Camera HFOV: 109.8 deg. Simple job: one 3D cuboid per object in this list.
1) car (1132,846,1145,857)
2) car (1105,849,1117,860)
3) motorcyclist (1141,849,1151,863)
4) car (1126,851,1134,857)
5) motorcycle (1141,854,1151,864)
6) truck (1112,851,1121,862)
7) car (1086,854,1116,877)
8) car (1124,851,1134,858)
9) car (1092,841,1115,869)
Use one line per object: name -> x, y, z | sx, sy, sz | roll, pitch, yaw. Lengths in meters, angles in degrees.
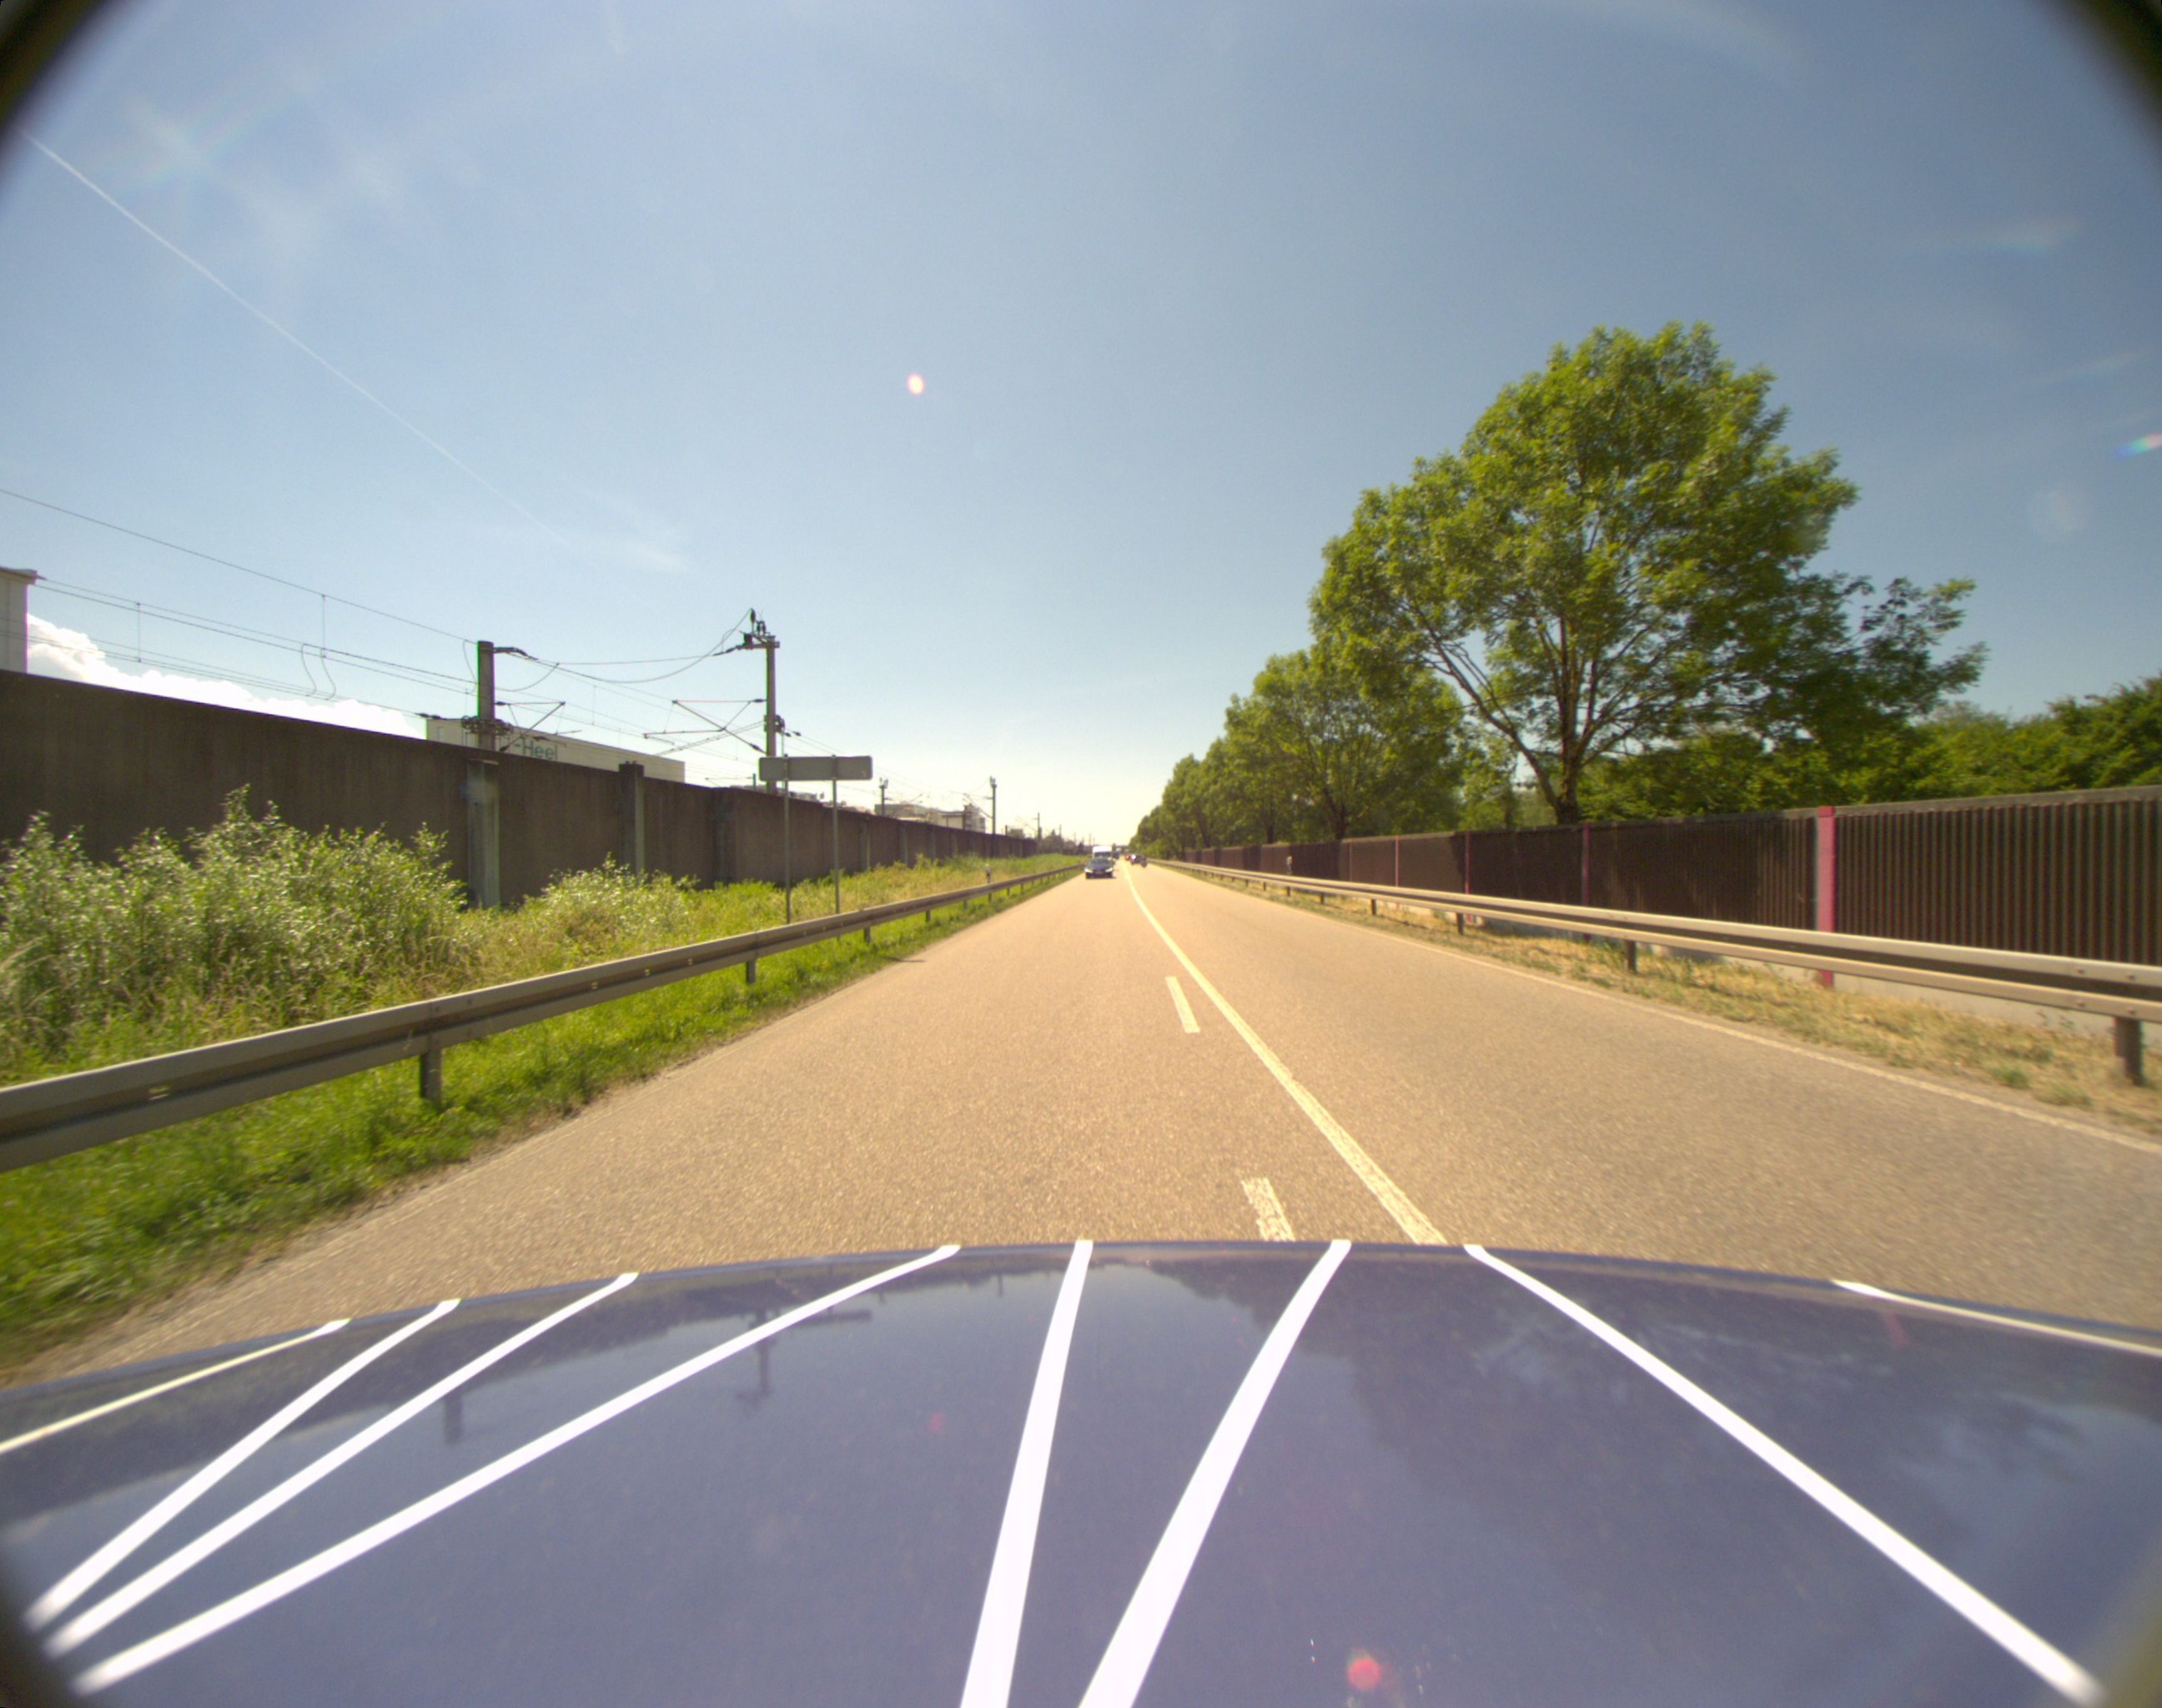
car -> 8.247, -0.333, 109.323 | 1.757, 1.499, 4.529 | -2, 0, 2
car -> 4.687, 0.062, 118.661 | 1.822, 1.555, 4.279 | -2, 0, 4
motorcyclist -> 7.381, 0.236, 86.272 | 0.951, 1.536, 1.214 | -2, 1, 2
car -> 11.297, 0.053, 176.749 | 1.757, 1.308, 4.529 | -2, 0, 2
motorcycle -> 7.407, 0.577, 86.359 | 0.951, 1.023, 2.385 | -2, 0, 2
truck -> 11.274, 0.775, 240.812 | 2.616, 3.024, 10.656 | -1, 1, 2
car -> 1.384, 0.757, 51.913 | 1.861, 1.371, 4.504 | -2, 0, 3
car -> 8.973, 0.146, 143.169 | 1.757, 1.225, 4.529 | -2, 0, 2
car -> 2.345, 0.078, 77.177 | 2.193, 2.589, 6.751 | -2, 0, 3
